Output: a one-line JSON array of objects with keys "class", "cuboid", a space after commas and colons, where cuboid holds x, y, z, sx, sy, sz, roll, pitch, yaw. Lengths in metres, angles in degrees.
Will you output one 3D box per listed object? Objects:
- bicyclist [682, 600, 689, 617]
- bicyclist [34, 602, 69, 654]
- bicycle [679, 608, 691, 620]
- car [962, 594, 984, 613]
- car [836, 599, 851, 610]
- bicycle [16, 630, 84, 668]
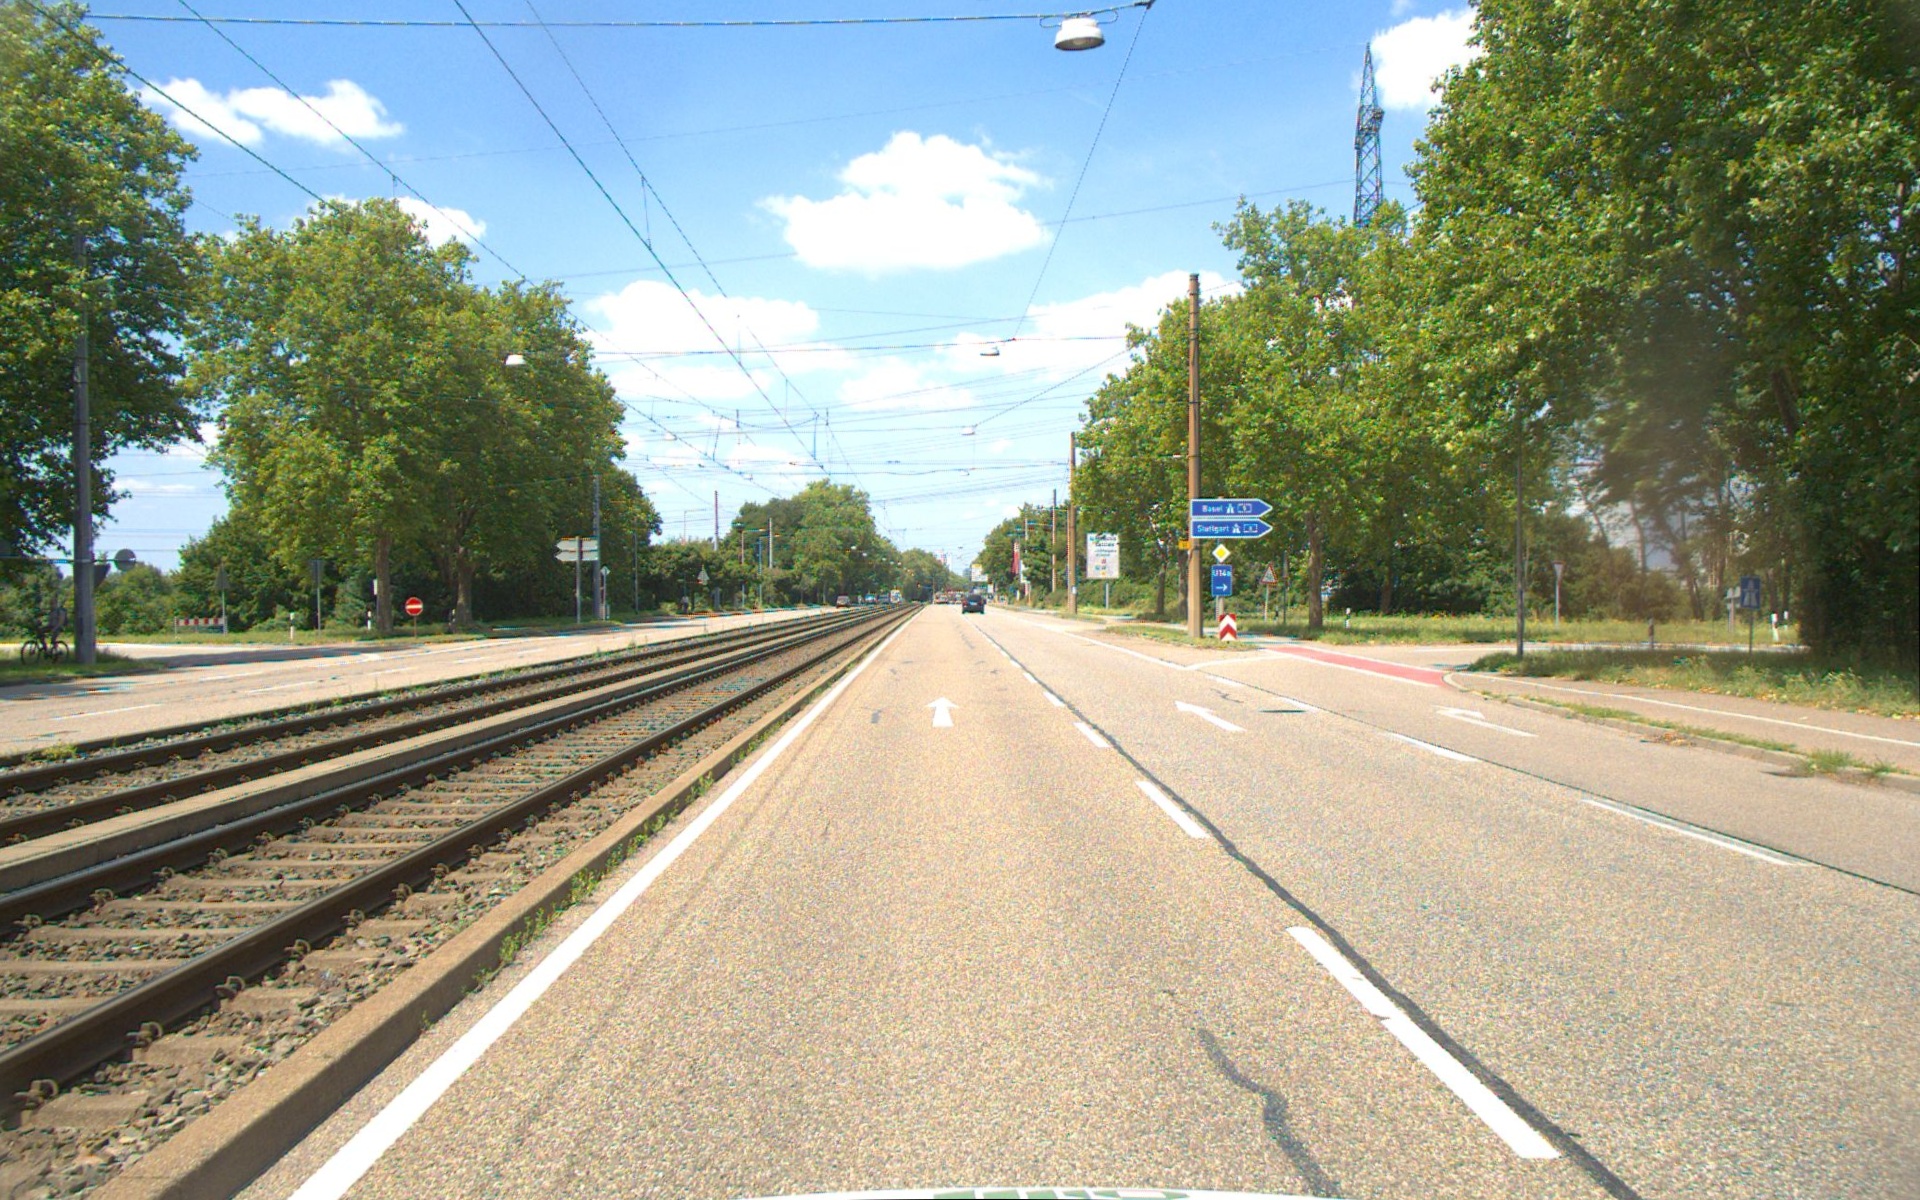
[{"class": "bicyclist", "cuboid": [-21.003, 0.657, 126.382, 0.444, 1.295, 0.398, 0, 0, 1]}, {"class": "bicyclist", "cuboid": [-25.645, 0.780, 46.690, 0.572, 1.454, 0.646, -1, 0, 12]}, {"class": "bicycle", "cuboid": [-20.999, 1.073, 126.401, 0.505, 0.872, 1.932, -1, 0, 2]}, {"class": "car", "cuboid": [1.022, 0.271, 131.815, 1.554, 1.366, 3.271, -1, 1, -2]}, {"class": "car", "cuboid": [-15.883, 0.590, 225.360, 1.836, 1.355, 3.917, -2, 0, 0]}, {"class": "bicycle", "cuboid": [-25.696, 1.370, 46.717, 0.715, 1.005, 1.762, -1, 0, 11]}]
